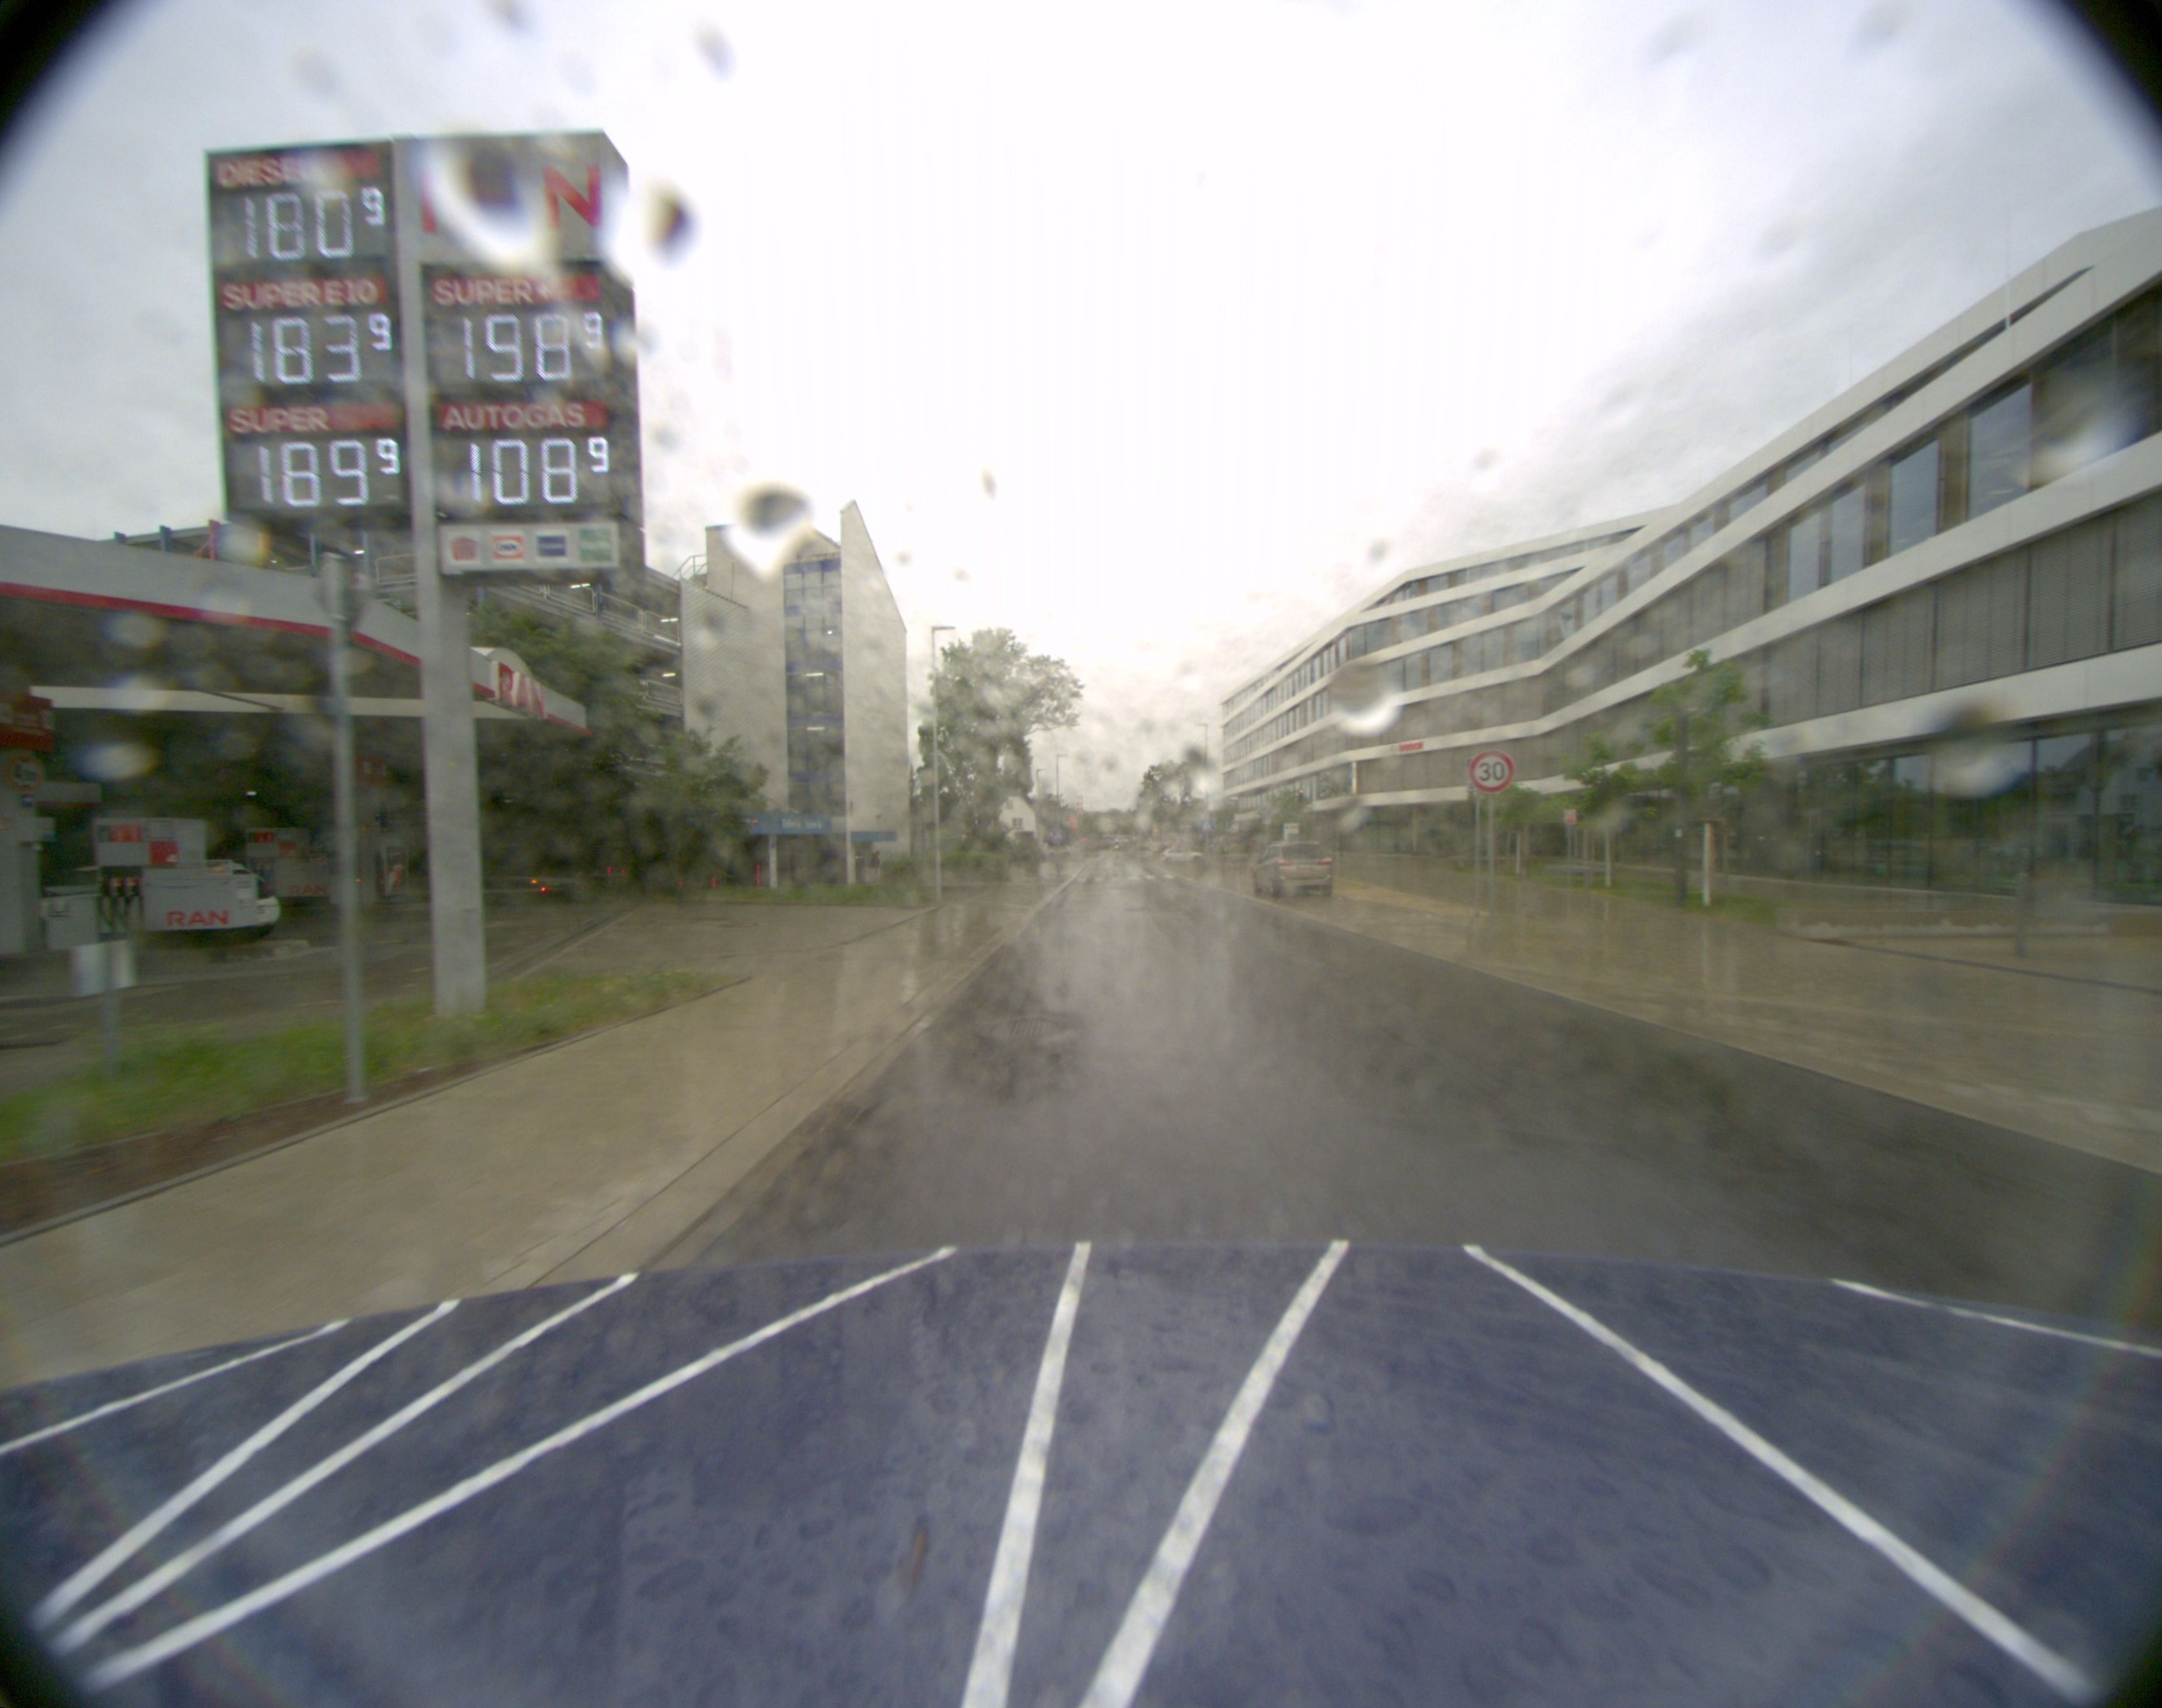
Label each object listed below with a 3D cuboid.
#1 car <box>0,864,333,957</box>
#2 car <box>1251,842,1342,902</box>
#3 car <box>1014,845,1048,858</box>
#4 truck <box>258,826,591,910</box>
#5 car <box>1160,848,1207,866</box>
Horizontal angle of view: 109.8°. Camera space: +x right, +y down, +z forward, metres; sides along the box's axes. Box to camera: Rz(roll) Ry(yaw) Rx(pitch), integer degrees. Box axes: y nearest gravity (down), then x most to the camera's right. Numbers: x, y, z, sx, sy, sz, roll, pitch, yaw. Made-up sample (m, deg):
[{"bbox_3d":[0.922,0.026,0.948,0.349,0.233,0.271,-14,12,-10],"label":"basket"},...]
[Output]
[{"bbox_3d":[-16.891,0.969,14.004,4.002,1.419,1.773,-1,1,-16],"label":"car"},{"bbox_3d":[6.693,0.489,24.078,1.841,1.696,4.323,-1,1,3],"label":"car"},{"bbox_3d":[-5.993,-0.334,91.167,3.998,1.445,1.868,-1,1,-2],"label":"car"},{"bbox_3d":[-18.375,0.426,21.611,7.297,2.193,2.085,1,-1,-5],"label":"truck"},{"bbox_3d":[9.388,0.239,69.610,4.166,1.411,2.000,-3,1,6],"label":"car"}]
